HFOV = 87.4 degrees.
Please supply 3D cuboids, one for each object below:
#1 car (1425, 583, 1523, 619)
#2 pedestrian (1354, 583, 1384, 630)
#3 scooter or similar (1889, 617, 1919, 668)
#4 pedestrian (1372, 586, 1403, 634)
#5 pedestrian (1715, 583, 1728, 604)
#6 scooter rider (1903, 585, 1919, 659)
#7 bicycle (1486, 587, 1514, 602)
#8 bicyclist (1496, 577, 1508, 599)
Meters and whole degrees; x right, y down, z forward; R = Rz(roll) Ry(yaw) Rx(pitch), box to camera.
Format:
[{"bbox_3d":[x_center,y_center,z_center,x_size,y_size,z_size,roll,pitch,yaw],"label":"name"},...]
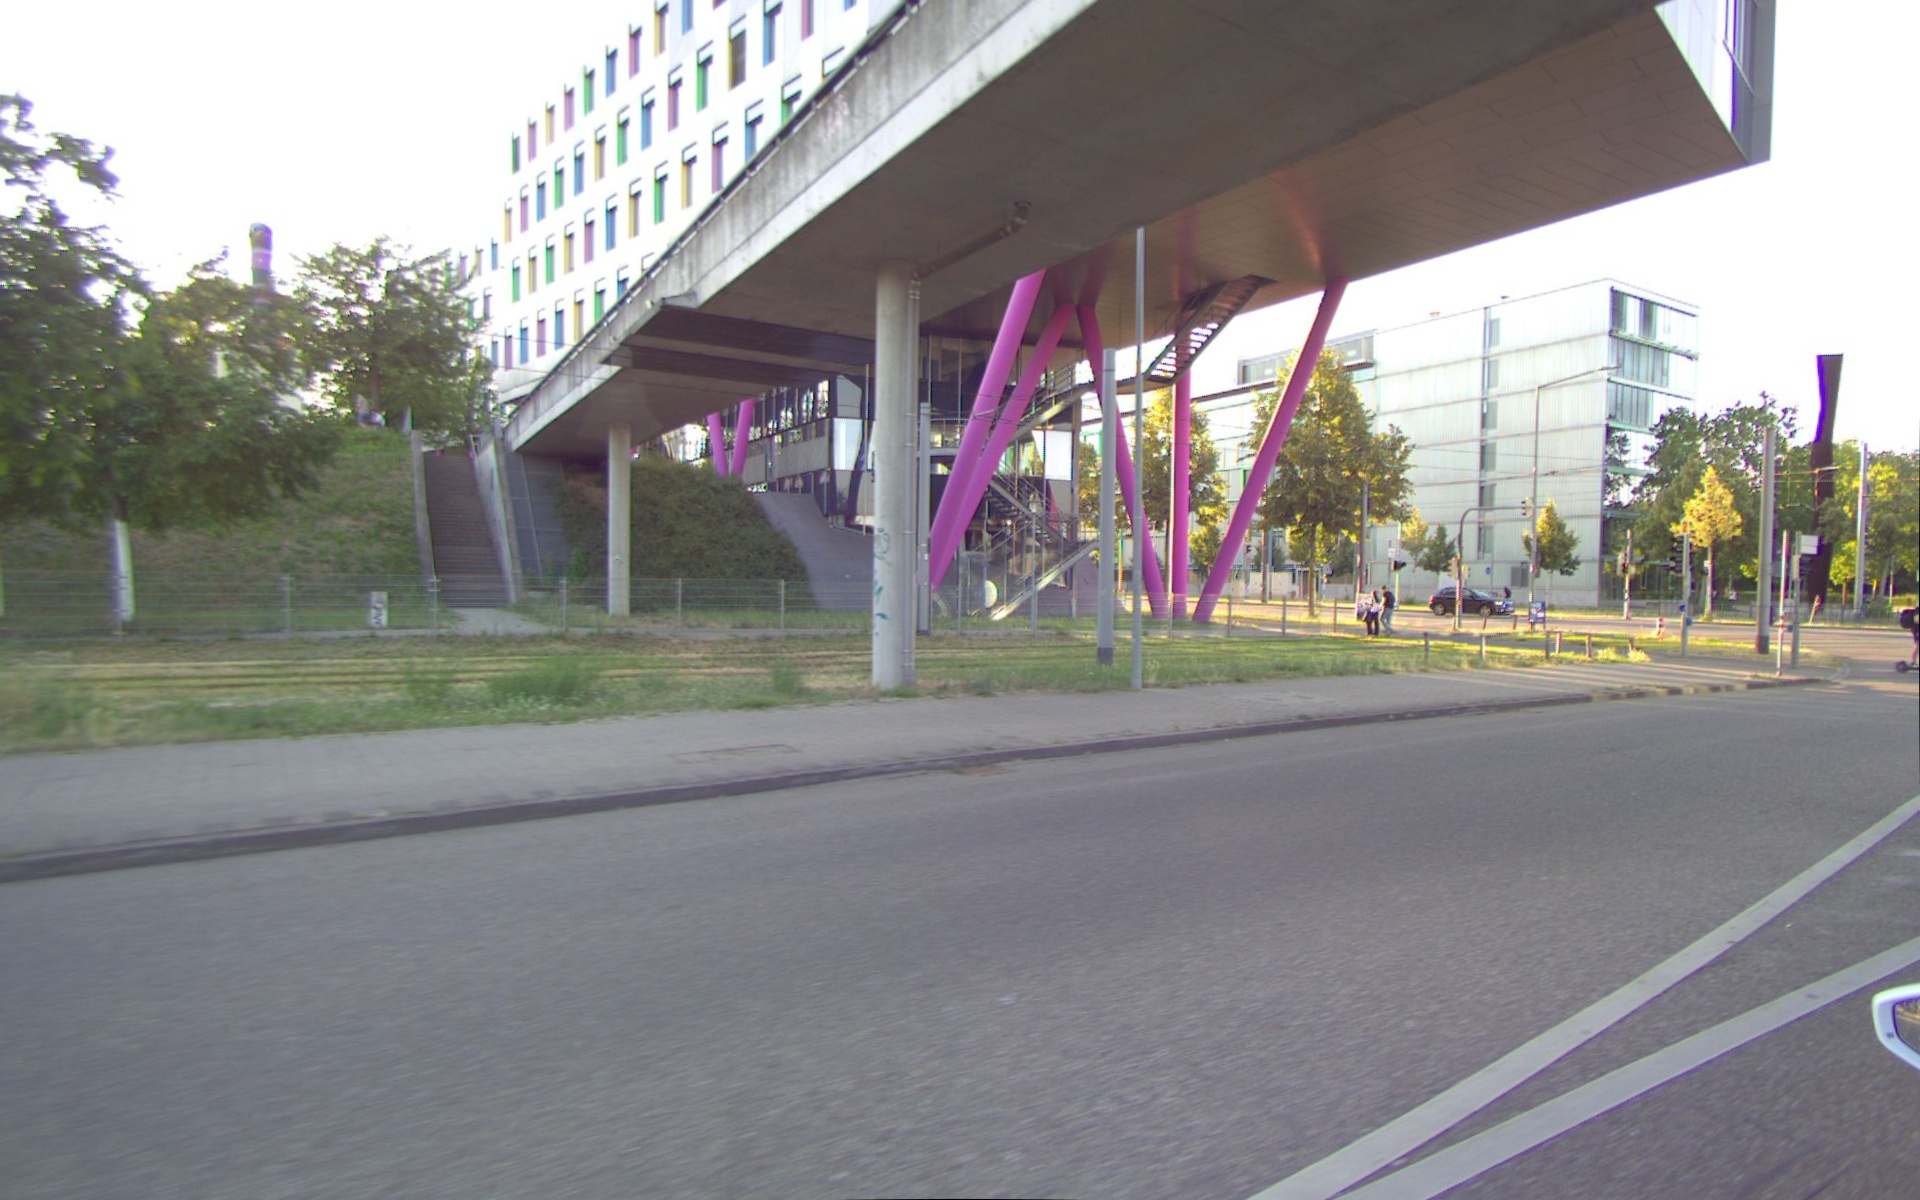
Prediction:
[{"bbox_3d":[27.981,-0.006,54.855,1.923,1.841,4.444,-1,2,-31],"label":"car"},{"bbox_3d":[14.428,0.226,35.413,0.699,1.646,0.686,0,2,-13],"label":"pedestrian"},{"bbox_3d":[23.869,1.054,24.853,0.498,1.217,1.206,-1,2,-33],"label":"scooter or similar"},{"bbox_3d":[15.135,0.352,35.580,0.699,1.686,0.700,0,2,-13],"label":"pedestrian"},{"bbox_3d":[72.631,-0.616,95.793,0.686,2.041,0.696,0,2,-10],"label":"pedestrian"},{"bbox_3d":[23.878,0.542,24.830,0.438,1.807,0.701,-1,2,-33],"label":"scooter rider"},{"bbox_3d":[43.393,-0.431,80.690,1.936,1.143,0.558,1,2,35],"label":"bicycle"},{"bbox_3d":[43.485,-0.981,80.612,0.747,1.746,0.550,1,2,35],"label":"bicyclist"}]
